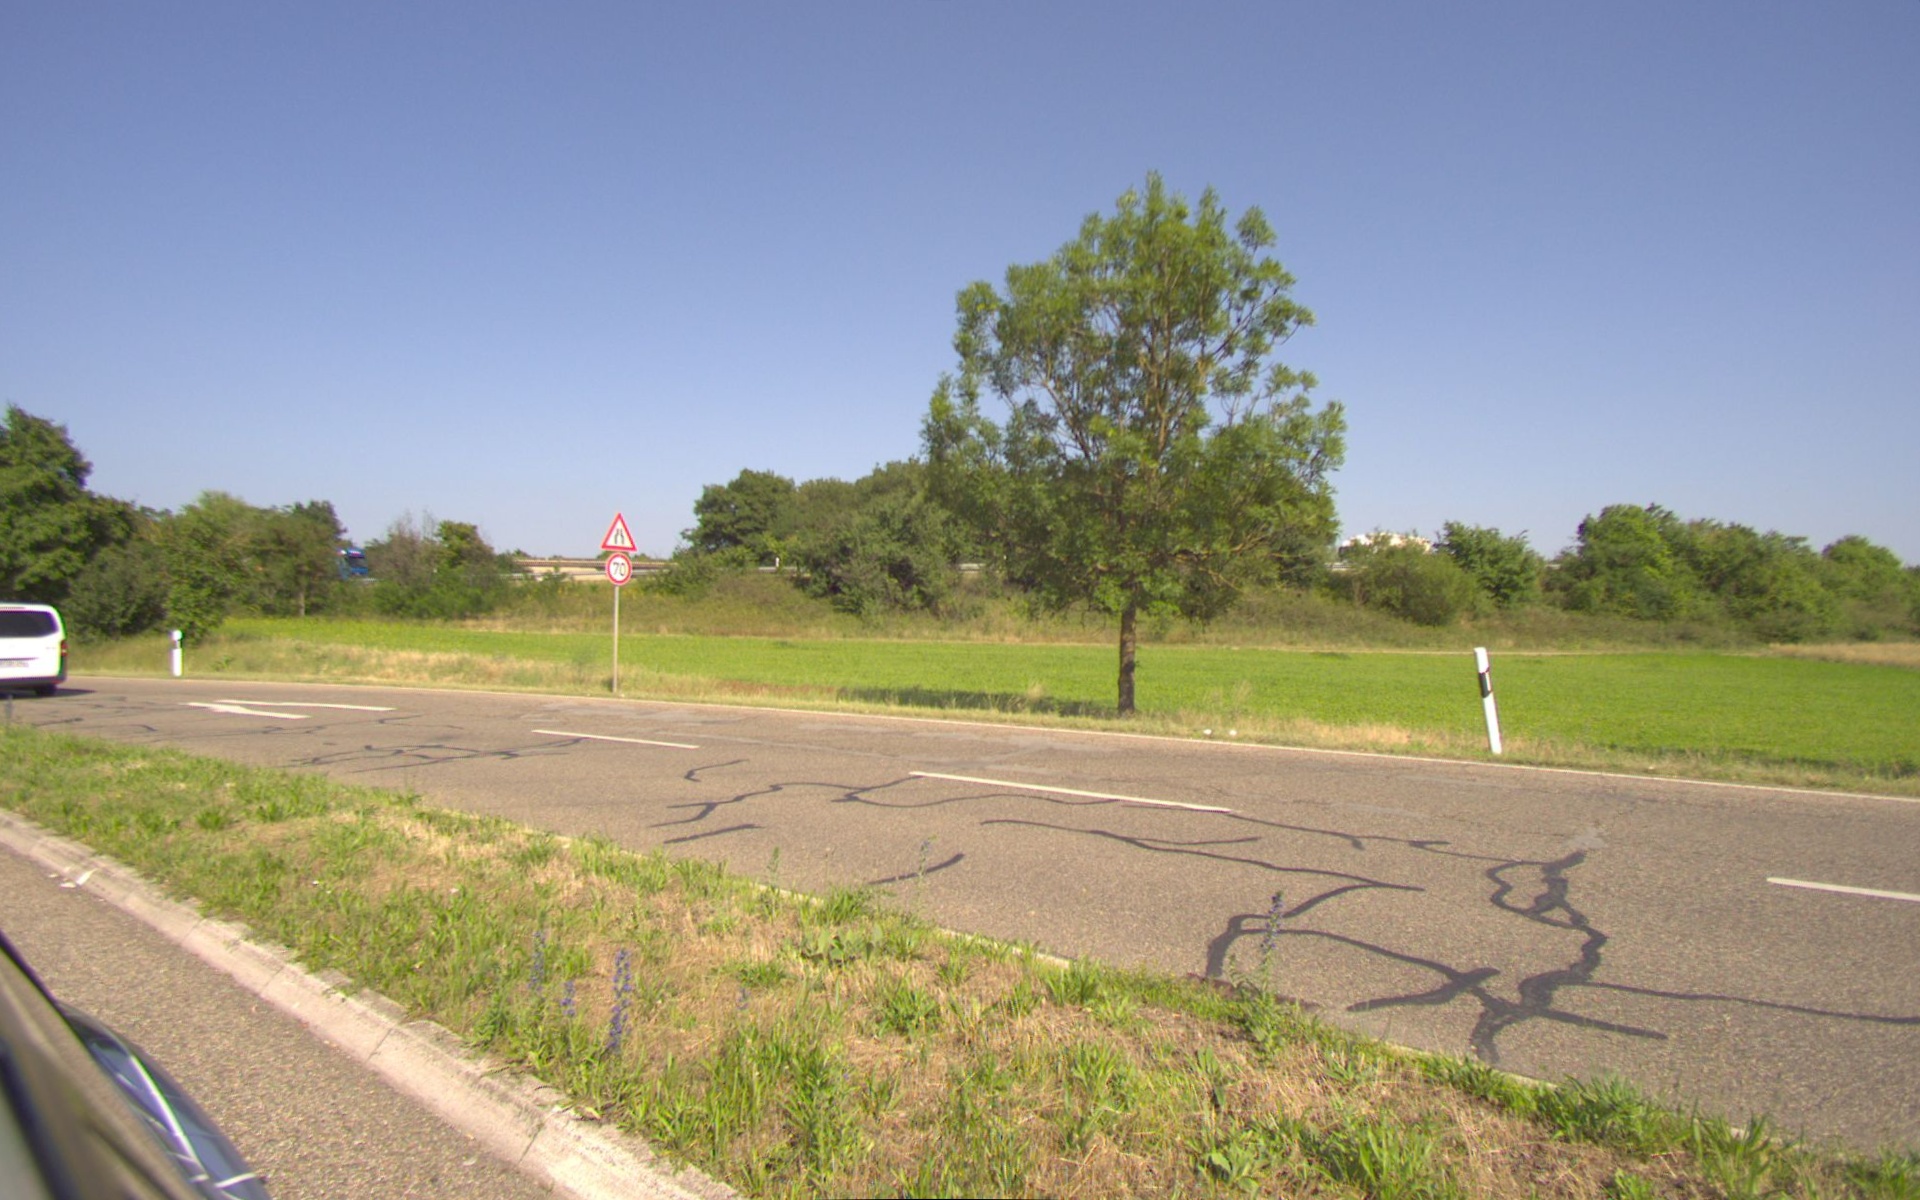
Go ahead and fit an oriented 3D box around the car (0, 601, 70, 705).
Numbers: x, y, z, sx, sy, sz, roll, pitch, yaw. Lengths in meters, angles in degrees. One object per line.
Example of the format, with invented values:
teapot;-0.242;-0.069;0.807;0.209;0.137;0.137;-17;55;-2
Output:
car;-19.971;1.044;20.230;4.931;1.932;1.978;-2;-1;32

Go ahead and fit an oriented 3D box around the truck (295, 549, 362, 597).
truck;-54.610;-2.328;87.564;4.629;4.005;2.547;-1;0;19

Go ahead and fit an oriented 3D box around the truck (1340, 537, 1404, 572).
truck;37.416;-4.059;91.659;2.489;2.828;9.801;-1;0;39
